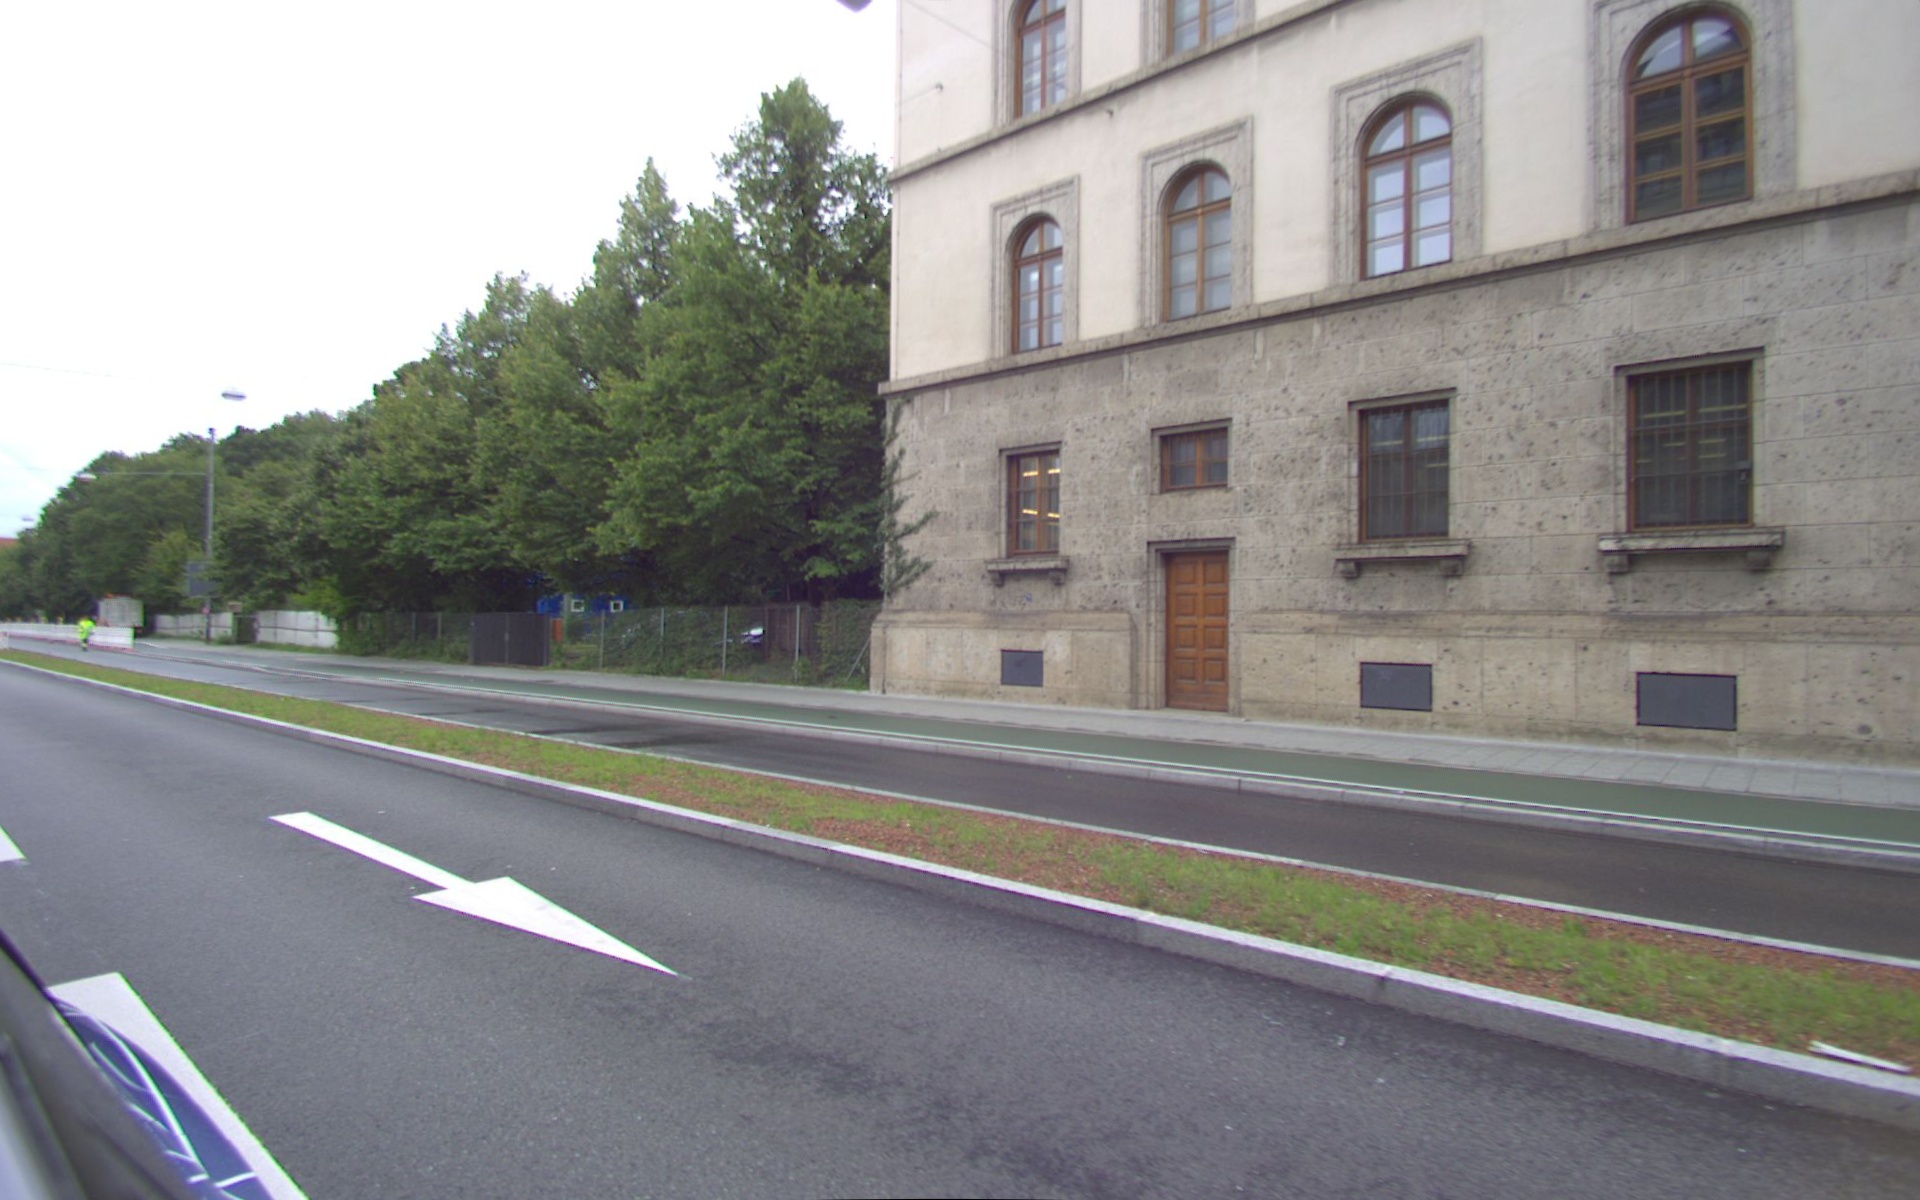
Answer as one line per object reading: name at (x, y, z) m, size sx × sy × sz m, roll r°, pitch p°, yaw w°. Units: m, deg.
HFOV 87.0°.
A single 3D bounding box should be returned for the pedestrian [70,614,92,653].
pedestrian at (-45.394, 1.722, 52.269) m, size 0.867 × 2.029 × 0.747 m, roll -1°, pitch -1°, yaw 41°
